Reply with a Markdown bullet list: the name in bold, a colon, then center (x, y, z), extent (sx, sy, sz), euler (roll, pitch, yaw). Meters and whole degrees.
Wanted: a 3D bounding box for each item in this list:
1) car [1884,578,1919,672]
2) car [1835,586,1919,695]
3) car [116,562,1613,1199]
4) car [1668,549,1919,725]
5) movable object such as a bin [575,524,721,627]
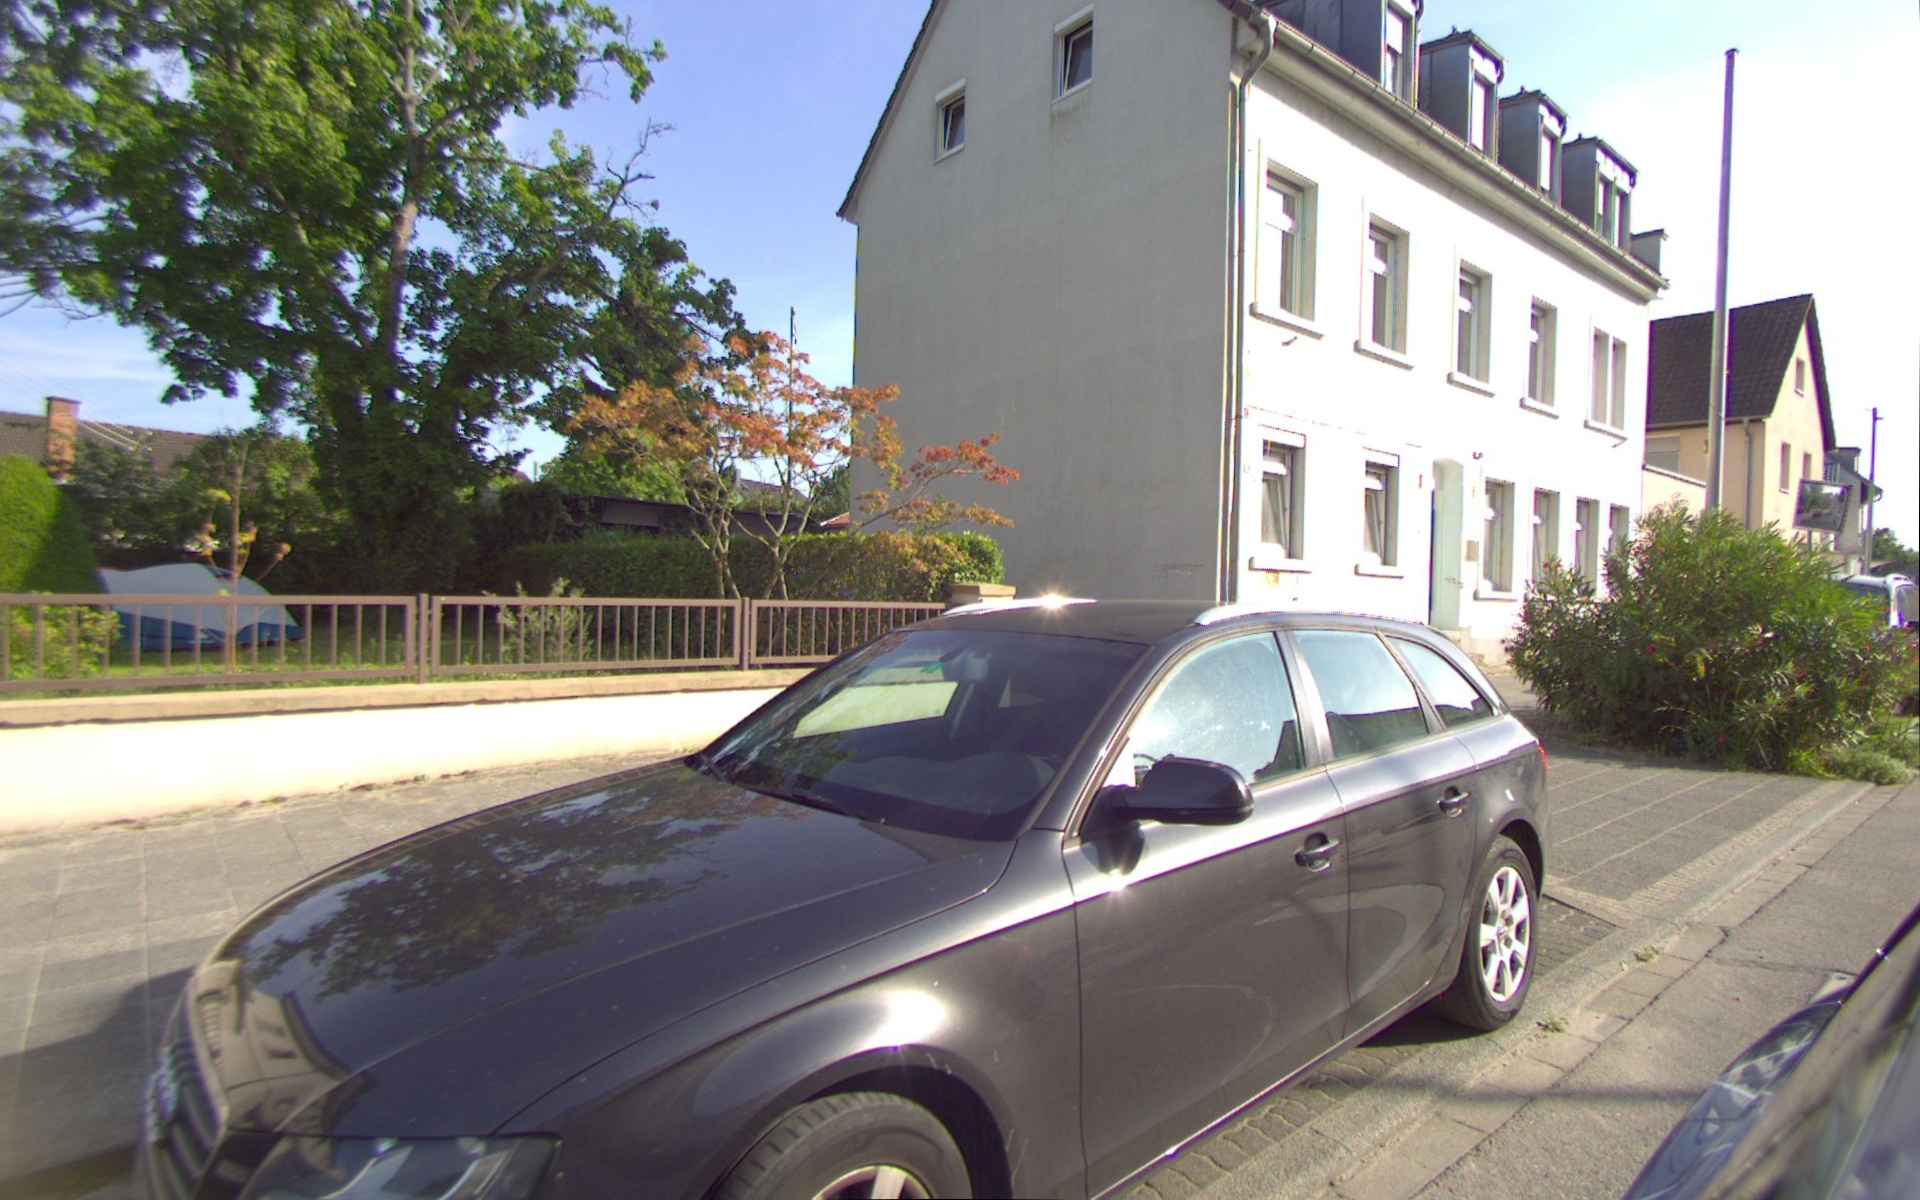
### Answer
- **car**: center (19.501, 0.498, 19.584), extent (4.398, 1.704, 1.816), euler (0, 3, -41)
- **car**: center (15.578, 0.594, 16.258), extent (4.533, 1.547, 1.592), euler (0, 3, -41)
- **car**: center (0.279, 0.667, 3.140), extent (4.417, 1.438, 1.782), euler (0, 1, -41)
- **car**: center (11.257, 0.394, 13.140), extent (4.525, 1.879, 2.082), euler (1, 2, -38)
- **movable object such as a bin**: center (-6.207, -0.501, 20.023), extent (1.940, 1.861, 2.568), euler (1, 2, -38)
